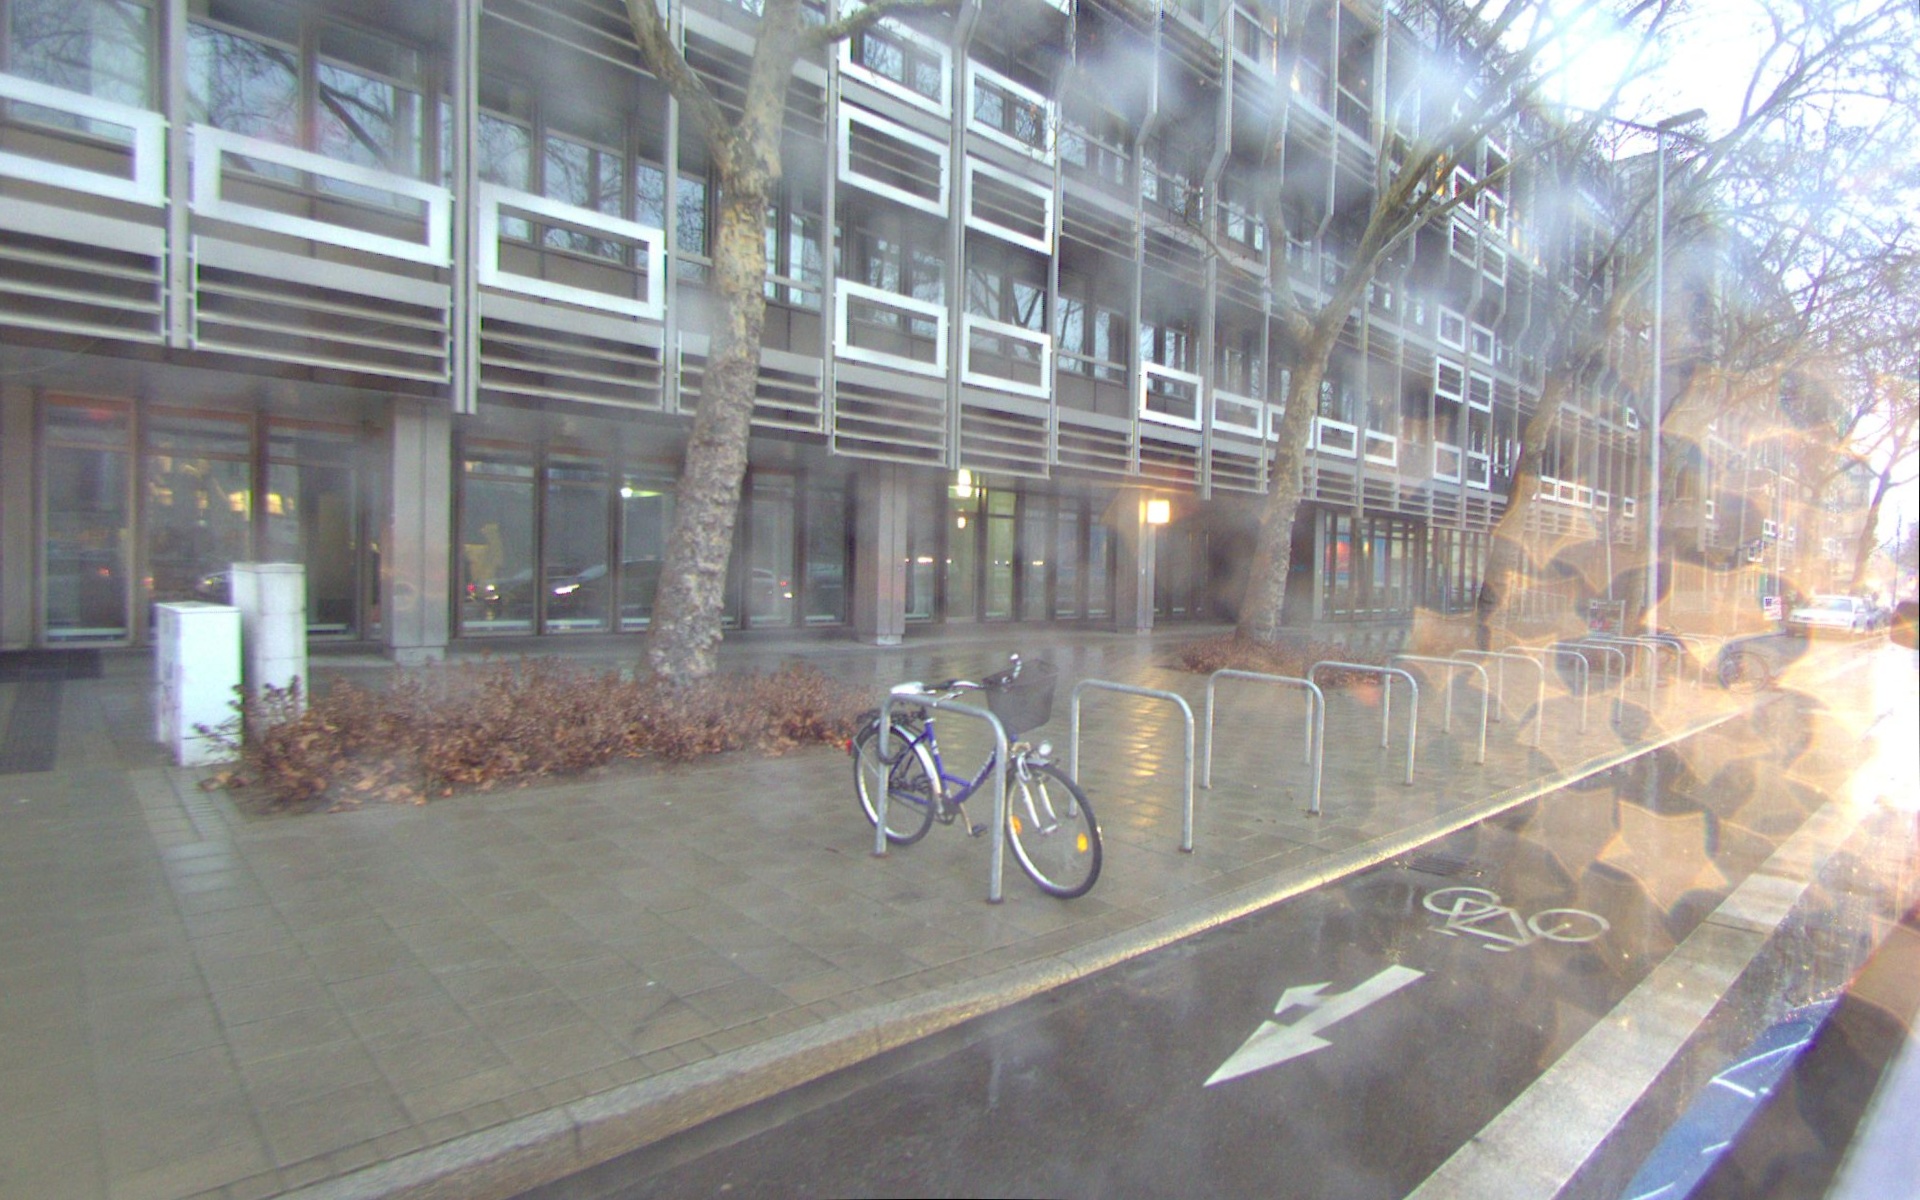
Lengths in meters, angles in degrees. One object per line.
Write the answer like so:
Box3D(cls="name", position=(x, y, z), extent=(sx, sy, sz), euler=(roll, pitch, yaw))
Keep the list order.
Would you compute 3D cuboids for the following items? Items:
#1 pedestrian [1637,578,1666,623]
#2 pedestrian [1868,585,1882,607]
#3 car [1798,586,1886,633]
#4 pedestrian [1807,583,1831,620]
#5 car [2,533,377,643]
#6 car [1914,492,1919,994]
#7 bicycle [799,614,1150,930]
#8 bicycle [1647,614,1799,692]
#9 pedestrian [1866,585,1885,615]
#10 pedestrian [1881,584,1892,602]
Box3D(cls="pedestrian", position=(27.795, -0.004, 40.673), extent=(0.765, 1.771, 0.913), euler=(2, 2, 45))
Box3D(cls="pedestrian", position=(74.113, -0.340, 81.972), extent=(0.765, 1.771, 0.913), euler=(2, 2, 45))
Box3D(cls="car", position=(29.567, 0.281, 33.899), extent=(3.930, 1.482, 1.711), euler=(-1, 1, -41))
Box3D(cls="pedestrian", position=(41.605, 0.072, 49.003), extent=(0.765, 1.771, 0.913), euler=(2, 2, 45))
Box3D(cls="car", position=(-10.564, -0.206, 14.130), extent=(3.929, 1.326, 1.998), euler=(0, 3, -40))
Box3D(cls="car", position=(5.612, 0.514, 4.455), extent=(3.934, 1.864, 1.874), euler=(-1, 0, -44))
Box3D(cls="bicycle", position=(-0.015, 0.709, 4.964), extent=(0.629, 1.145, 1.810), euler=(2, 2, -41))
Box3D(cls="bicycle", position=(11.812, 0.787, 15.705), extent=(0.864, 1.004, 1.704), euler=(0, 4, -41))
Box3D(cls="pedestrian", position=(55.421, -0.034, 61.239), extent=(0.765, 1.771, 0.913), euler=(2, 2, 45))
Box3D(cls="pedestrian", position=(97.453, -0.748, 106.477), extent=(0.765, 1.771, 0.913), euler=(2, 2, 45))
